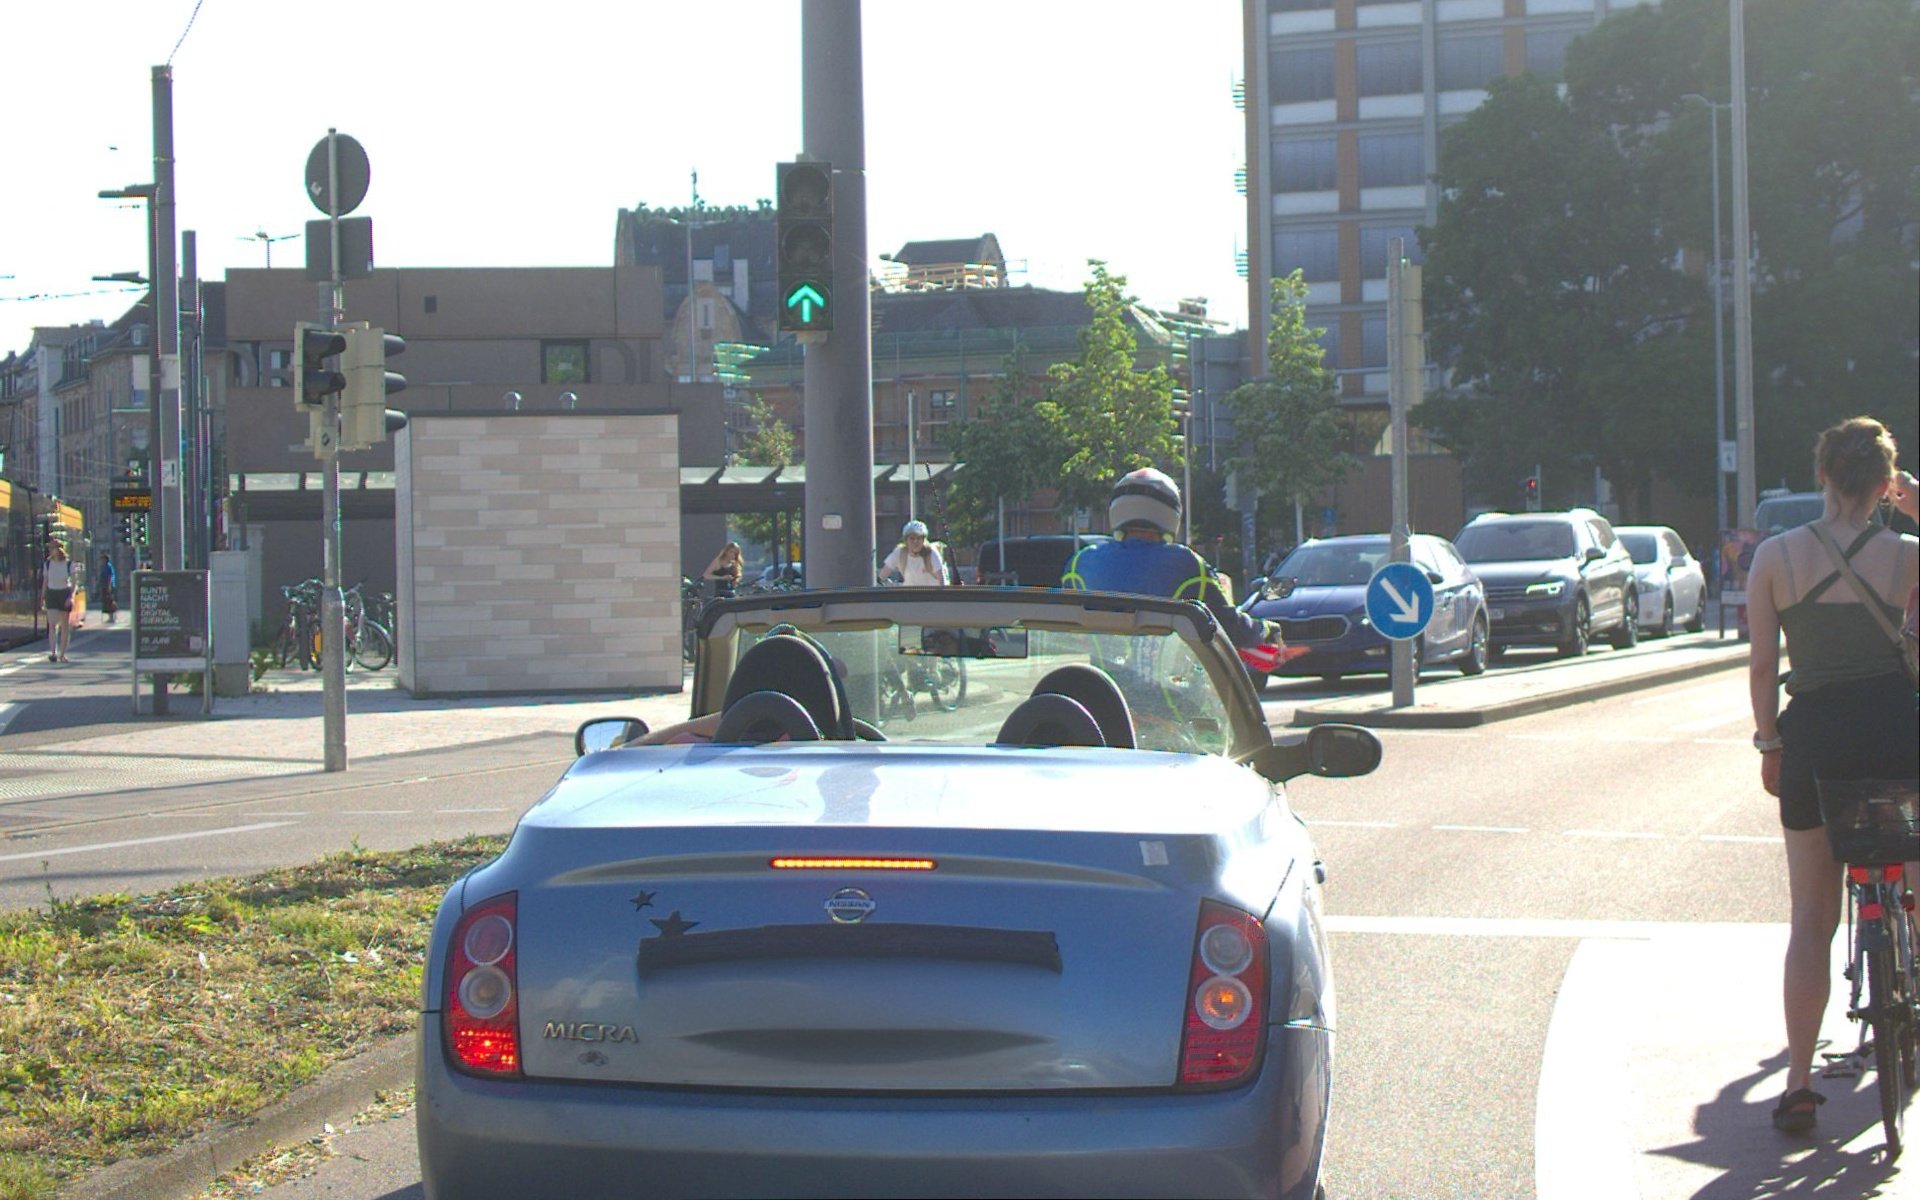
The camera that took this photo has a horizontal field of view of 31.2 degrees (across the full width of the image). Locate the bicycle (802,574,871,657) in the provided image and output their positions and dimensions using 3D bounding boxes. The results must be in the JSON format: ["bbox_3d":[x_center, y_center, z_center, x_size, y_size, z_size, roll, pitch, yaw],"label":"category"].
[{"bbox_3d":[-1.719,0.203,47.589,0.606,1.111,1.897,1,1,-12],"label":"bicycle"}]

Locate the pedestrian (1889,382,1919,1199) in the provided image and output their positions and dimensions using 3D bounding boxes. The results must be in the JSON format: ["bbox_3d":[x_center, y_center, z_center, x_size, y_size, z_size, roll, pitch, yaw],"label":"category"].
[{"bbox_3d":[2.489,0.455,7.402,0.806,1.862,0.956,1,0,8],"label":"pedestrian"}]

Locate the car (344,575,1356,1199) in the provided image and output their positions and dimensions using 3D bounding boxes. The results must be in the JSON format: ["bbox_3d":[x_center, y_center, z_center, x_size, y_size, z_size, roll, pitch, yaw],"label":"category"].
[{"bbox_3d":[0.033,0.677,7.697,1.660,1.436,4.153,1,1,6],"label":"car"}]

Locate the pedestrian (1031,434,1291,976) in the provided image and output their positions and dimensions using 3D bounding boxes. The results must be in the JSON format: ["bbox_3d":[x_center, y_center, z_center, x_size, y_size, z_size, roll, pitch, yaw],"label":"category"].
[{"bbox_3d":[0.737,0.357,12.374,0.833,1.862,0.920,1,0,8],"label":"pedestrian"}]

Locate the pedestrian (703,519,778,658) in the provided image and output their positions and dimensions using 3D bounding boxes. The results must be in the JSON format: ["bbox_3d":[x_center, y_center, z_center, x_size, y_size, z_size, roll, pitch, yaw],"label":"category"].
[{"bbox_3d":[-2.982,-0.154,46.657,0.900,1.862,0.687,1,0,-12],"label":"pedestrian"}]

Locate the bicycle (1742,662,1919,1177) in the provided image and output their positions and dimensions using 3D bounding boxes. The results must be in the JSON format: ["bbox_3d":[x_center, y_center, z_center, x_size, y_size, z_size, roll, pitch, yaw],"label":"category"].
[{"bbox_3d":[2.369,0.764,8.982,0.564,1.147,1.948,1,1,14],"label":"bicycle"}]

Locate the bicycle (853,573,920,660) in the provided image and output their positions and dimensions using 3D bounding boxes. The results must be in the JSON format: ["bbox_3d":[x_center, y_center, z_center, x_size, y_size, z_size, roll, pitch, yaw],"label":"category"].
[{"bbox_3d":[-0.980,0.207,45.566,0.606,1.111,1.897,1,1,-10],"label":"bicycle"}]

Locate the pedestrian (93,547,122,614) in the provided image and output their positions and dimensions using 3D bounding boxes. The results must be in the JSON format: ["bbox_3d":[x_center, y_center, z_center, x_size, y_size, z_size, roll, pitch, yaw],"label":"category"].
[{"bbox_3d":[-22.293,-0.514,89.931,0.604,1.743,0.832,-1,1,-8],"label":"pedestrian"}]

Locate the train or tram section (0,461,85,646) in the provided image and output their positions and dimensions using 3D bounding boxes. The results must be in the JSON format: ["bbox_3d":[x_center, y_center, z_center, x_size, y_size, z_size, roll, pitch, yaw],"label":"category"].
[{"bbox_3d":[-20.507,-0.993,72.675,3.011,3.584,12.203,1,1,-10],"label":"train or tram section"}]

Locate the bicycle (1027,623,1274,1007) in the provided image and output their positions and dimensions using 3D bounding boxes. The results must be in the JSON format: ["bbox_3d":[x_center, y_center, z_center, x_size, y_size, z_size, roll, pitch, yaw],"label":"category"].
[{"bbox_3d":[0.719,0.696,12.247,0.608,1.187,2.414,1,1,9],"label":"bicycle"}]

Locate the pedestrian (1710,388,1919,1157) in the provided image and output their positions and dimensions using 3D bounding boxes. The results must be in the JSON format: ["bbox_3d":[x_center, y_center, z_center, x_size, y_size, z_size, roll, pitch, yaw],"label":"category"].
[{"bbox_3d":[2.287,0.414,8.789,0.659,1.862,0.872,1,0,15],"label":"pedestrian"}]

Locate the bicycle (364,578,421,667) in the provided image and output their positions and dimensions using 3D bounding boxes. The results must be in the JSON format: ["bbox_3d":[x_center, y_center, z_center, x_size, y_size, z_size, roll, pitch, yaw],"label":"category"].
[{"bbox_3d":[-7.338,0.277,44.406,0.606,1.111,1.897,1,1,-12],"label":"bicycle"}]

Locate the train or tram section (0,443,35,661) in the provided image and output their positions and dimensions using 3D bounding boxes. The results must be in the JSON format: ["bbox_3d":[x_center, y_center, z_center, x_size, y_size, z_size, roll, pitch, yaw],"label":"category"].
[{"bbox_3d":[-18.165,-0.852,60.685,2.880,3.584,12.203,1,1,-12],"label":"train or tram section"}]

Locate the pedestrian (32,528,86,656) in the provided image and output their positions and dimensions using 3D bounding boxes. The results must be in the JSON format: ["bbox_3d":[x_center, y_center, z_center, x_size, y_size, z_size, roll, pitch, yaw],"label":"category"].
[{"bbox_3d":[-12.424,-0.112,47.416,0.637,1.743,0.572,-1,1,-19],"label":"pedestrian"}]

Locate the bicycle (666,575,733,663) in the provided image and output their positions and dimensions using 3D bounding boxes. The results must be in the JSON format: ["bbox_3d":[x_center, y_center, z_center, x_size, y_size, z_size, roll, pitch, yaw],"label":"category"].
[{"bbox_3d":[-3.429,0.236,45.128,0.606,1.111,1.897,1,1,-12],"label":"bicycle"}]

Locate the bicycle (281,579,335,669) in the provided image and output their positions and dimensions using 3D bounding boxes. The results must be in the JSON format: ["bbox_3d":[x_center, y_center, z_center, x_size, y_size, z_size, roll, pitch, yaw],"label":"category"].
[{"bbox_3d":[-8.364,0.300,44.075,0.606,1.111,1.897,1,1,-12],"label":"bicycle"}]

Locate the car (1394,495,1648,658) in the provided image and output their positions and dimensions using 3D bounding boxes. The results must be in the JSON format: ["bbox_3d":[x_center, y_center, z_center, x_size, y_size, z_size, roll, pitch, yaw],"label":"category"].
[{"bbox_3d":[6.509,-0.297,39.512,1.763,1.700,4.525,-2,0,24],"label":"car"}]

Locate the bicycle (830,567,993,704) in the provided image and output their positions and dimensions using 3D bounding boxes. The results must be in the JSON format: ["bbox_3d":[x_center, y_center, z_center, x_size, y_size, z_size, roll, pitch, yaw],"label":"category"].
[{"bbox_3d":[-0.422,0.305,31.309,0.675,1.176,2.181,-1,1,22],"label":"bicycle"}]

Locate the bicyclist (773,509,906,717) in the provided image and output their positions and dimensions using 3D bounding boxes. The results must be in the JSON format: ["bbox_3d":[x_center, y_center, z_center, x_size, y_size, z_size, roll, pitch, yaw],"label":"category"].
[{"bbox_3d":[-0.988,0.099,28.362,0.709,1.651,0.900,-3,0,22],"label":"bicyclist"}]

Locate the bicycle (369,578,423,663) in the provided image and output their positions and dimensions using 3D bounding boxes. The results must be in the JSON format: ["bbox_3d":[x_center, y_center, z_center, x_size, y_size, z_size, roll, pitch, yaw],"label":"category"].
[{"bbox_3d":[-7.628,0.266,46.469,0.606,1.111,1.897,1,1,-12],"label":"bicycle"}]

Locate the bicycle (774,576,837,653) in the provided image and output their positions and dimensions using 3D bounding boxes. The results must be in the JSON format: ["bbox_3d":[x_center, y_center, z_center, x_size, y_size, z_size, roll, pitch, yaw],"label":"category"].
[{"bbox_3d":[-2.311,0.207,51.277,0.606,1.111,1.897,1,1,-12],"label":"bicycle"}]

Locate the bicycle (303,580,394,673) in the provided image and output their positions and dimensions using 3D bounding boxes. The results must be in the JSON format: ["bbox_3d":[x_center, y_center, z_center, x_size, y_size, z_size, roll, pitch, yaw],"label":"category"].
[{"bbox_3d":[-7.544,0.317,42.471,0.607,1.111,1.896,1,1,5],"label":"bicycle"}]

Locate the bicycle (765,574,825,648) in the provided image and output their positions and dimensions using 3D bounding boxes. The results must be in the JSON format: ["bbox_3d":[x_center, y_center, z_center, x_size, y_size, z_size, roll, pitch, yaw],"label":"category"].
[{"bbox_3d":[-2.560,0.162,53.248,0.606,1.111,1.897,1,1,-12],"label":"bicycle"}]

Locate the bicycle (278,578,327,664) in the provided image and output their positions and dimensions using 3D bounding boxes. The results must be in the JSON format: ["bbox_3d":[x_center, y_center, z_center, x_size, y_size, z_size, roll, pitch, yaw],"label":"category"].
[{"bbox_3d":[-8.798,0.275,46.000,0.606,1.111,1.897,1,1,-11],"label":"bicycle"}]

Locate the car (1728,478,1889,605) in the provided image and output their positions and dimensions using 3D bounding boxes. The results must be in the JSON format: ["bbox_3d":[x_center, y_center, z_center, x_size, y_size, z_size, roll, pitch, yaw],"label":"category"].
[{"bbox_3d":[14.077,-0.969,56.860,1.911,1.938,4.701,-2,0,21],"label":"car"}]

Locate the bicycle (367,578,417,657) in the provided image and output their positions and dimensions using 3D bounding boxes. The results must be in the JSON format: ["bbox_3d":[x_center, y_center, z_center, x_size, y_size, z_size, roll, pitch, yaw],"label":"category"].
[{"bbox_3d":[-8.329,0.244,50.344,0.606,1.111,1.897,1,1,-12],"label":"bicycle"}]

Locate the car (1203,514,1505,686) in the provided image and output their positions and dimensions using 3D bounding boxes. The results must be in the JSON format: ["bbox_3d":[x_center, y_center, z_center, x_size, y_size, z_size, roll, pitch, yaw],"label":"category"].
[{"bbox_3d":[3.916,-0.013,33.638,1.739,1.568,3.919,1,1,25],"label":"car"}]

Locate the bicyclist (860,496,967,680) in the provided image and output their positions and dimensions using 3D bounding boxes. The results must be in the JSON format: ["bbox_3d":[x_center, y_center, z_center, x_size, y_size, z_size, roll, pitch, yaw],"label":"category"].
[{"bbox_3d":[-0.418,-0.110,31.328,0.709,1.651,0.742,-1,1,22],"label":"bicyclist"}]

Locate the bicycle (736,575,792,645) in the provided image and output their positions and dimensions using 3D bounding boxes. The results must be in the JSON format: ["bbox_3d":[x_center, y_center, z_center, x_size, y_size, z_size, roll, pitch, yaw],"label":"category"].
[{"bbox_3d":[-3.245,0.157,56.754,0.606,1.111,1.897,1,1,-12],"label":"bicycle"}]

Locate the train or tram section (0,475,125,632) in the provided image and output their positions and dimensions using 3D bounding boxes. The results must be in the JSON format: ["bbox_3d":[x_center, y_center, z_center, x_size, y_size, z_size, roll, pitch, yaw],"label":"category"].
[{"bbox_3d":[-22.574,-1.141,84.602,3.039,3.584,12.055,1,1,-9],"label":"train or tram section"}]

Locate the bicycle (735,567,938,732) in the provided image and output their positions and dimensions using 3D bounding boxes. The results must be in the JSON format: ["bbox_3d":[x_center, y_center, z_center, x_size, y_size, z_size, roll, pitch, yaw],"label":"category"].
[{"bbox_3d":[-0.990,0.381,28.323,0.675,1.246,2.454,-3,0,22],"label":"bicycle"}]

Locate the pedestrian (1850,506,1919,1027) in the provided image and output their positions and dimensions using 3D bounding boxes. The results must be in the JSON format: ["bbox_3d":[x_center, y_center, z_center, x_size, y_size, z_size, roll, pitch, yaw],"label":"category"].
[{"bbox_3d":[3.183,0.510,10.988,0.588,1.593,1.024,1,0,17],"label":"pedestrian"}]

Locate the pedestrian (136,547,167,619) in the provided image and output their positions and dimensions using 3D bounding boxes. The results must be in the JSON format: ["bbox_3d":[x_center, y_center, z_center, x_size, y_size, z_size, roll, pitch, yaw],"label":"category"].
[{"bbox_3d":[-19.865,-0.424,84.491,0.637,1.743,0.736,-1,1,-19],"label":"pedestrian"}]

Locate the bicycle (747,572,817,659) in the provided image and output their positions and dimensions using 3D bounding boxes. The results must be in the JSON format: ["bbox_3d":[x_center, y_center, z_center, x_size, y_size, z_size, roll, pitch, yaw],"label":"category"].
[{"bbox_3d":[-2.355,0.191,45.269,0.606,1.111,1.897,1,1,-12],"label":"bicycle"}]

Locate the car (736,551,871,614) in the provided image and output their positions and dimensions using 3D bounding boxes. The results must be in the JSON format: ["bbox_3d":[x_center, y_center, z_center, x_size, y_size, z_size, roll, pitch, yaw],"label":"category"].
[{"bbox_3d":[-4.049,-0.455,88.487,1.640,1.555,3.599,-2,1,-39],"label":"car"}]

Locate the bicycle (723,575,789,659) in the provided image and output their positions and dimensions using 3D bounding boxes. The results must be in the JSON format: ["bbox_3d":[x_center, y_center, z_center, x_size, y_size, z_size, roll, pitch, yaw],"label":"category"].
[{"bbox_3d":[-2.806,0.224,47.201,0.606,1.111,1.897,1,1,-12],"label":"bicycle"}]

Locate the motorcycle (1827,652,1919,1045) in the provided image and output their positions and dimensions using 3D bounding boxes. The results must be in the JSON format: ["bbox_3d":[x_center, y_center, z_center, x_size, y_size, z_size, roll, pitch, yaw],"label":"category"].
[{"bbox_3d":[3.192,0.745,11.147,0.614,1.094,2.358,1,1,17],"label":"motorcycle"}]

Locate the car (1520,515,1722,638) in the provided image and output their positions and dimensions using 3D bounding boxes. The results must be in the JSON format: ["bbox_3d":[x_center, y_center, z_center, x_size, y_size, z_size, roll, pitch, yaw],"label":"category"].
[{"bbox_3d":[8.916,-0.342,46.154,1.697,1.555,3.974,-1,1,25],"label":"car"}]
